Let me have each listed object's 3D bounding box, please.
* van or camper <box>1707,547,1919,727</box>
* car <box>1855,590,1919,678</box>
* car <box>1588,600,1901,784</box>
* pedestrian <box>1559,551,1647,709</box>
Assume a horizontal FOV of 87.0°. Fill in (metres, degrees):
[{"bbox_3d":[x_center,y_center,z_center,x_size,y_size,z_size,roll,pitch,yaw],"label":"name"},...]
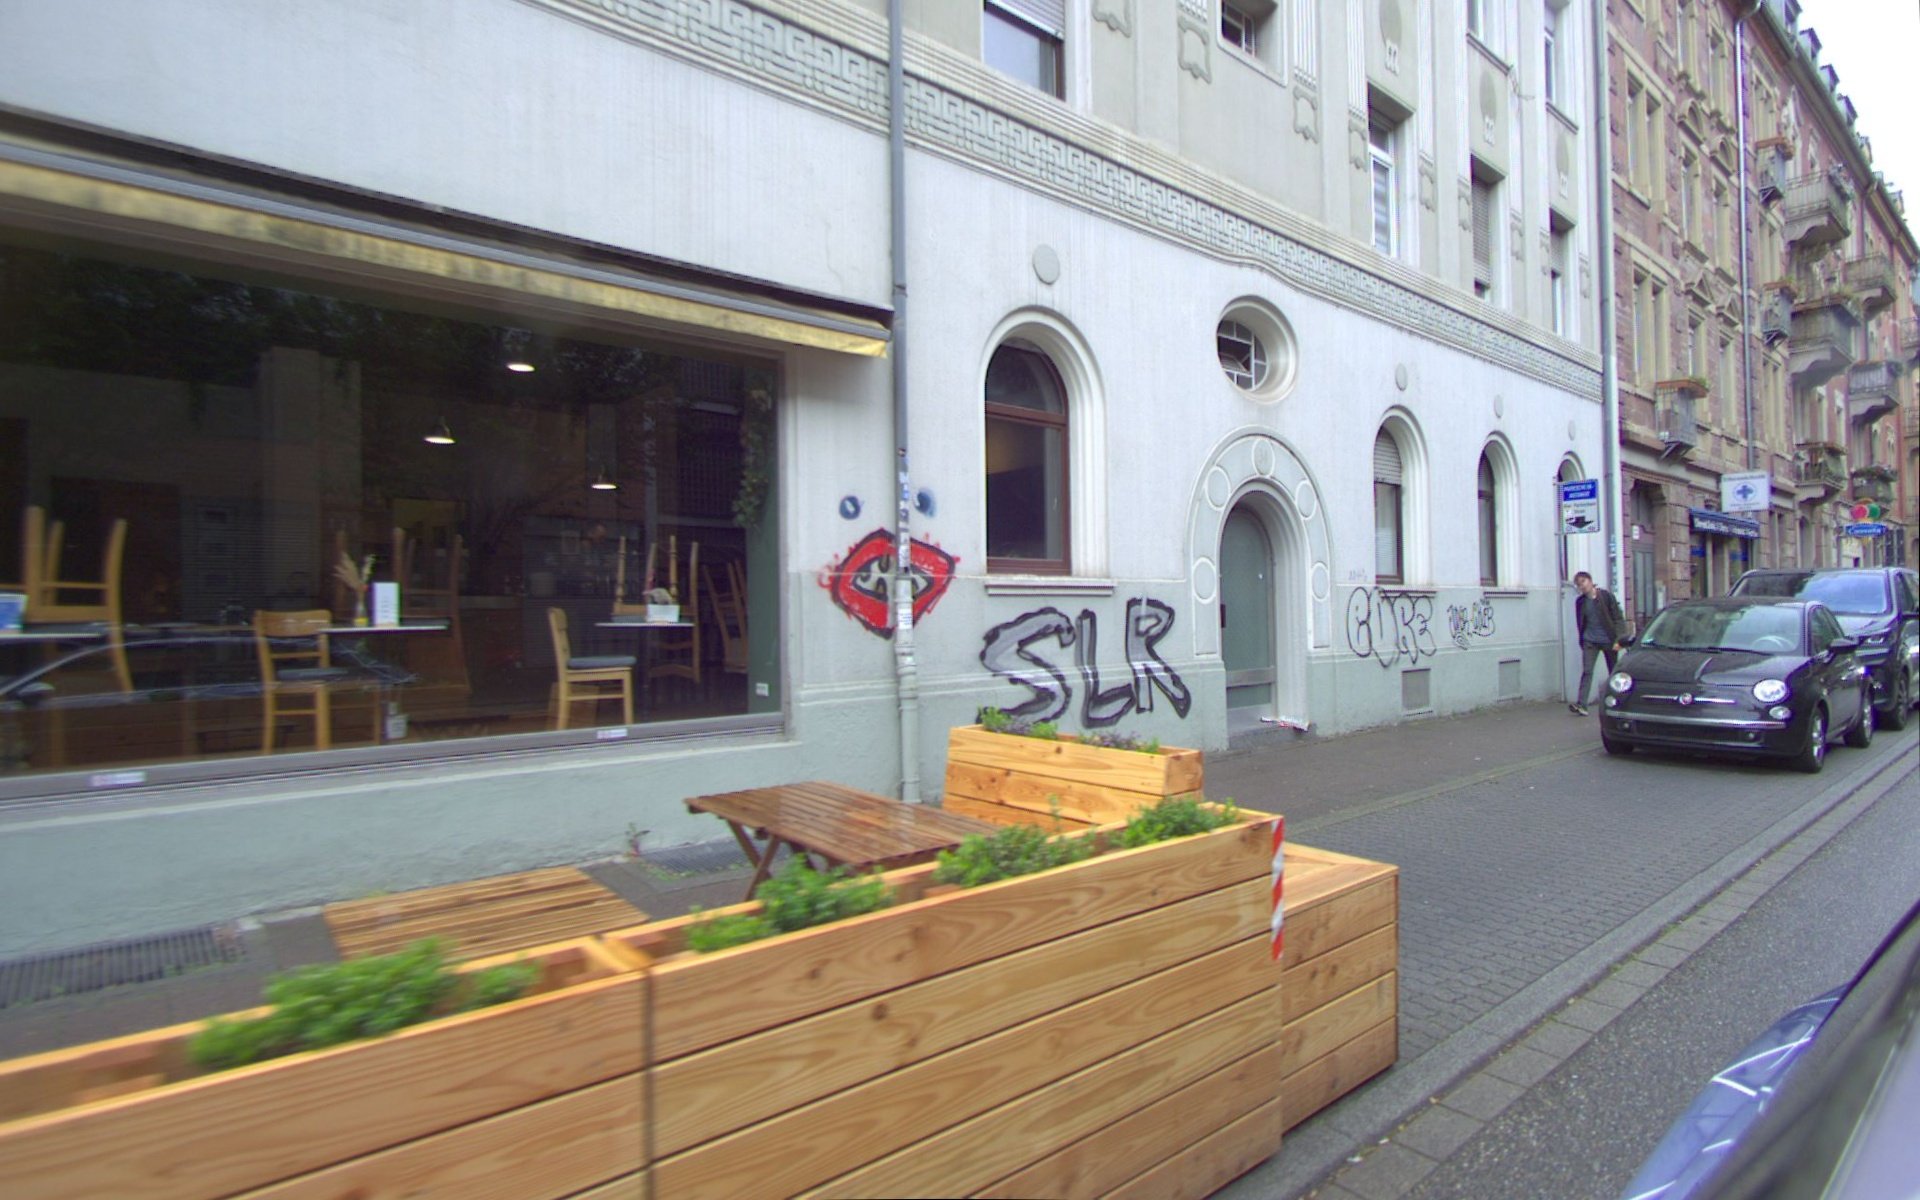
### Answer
[{"bbox_3d":[11.538,0.374,13.071,4.966,1.915,2.025,0,0,-41],"label":"van or camper"},{"bbox_3d":[18.507,0.589,19.191,3.934,1.565,1.843,-1,0,-42],"label":"car"},{"bbox_3d":[7.672,0.722,9.795,3.640,1.418,1.713,0,0,-41],"label":"car"},{"bbox_3d":[8.338,0.377,13.140,0.408,1.975,0.826,-2,0,-39],"label":"pedestrian"}]
